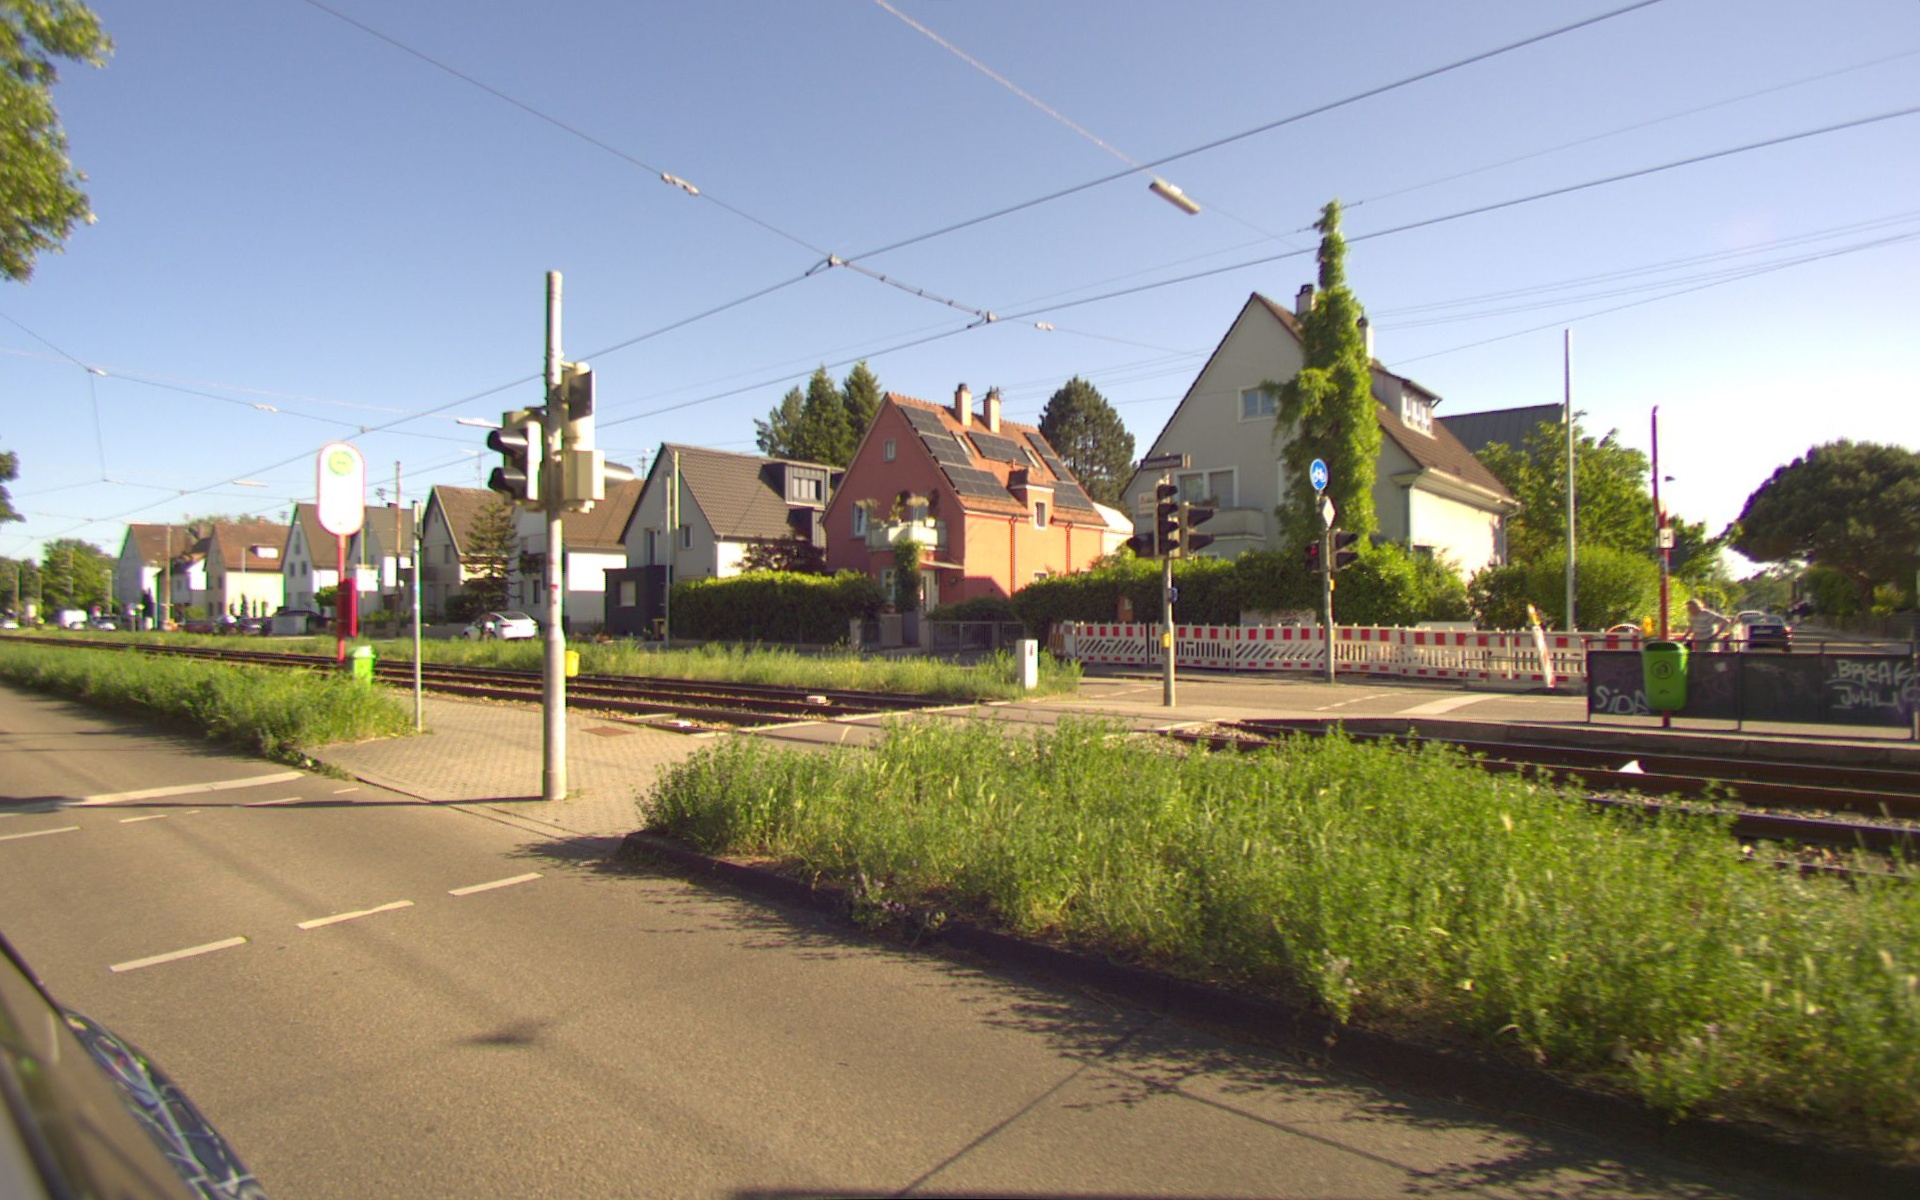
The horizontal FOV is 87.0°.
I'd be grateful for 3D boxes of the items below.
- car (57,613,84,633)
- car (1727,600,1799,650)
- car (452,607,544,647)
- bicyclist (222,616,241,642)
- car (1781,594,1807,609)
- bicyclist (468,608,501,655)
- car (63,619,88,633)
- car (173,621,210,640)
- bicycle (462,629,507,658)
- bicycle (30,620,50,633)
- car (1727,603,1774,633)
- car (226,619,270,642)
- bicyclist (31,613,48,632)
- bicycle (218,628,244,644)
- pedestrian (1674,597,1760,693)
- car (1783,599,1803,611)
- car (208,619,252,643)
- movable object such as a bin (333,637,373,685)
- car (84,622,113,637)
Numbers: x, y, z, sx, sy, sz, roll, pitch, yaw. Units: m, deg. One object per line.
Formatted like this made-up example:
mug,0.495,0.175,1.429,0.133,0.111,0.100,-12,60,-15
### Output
car,-105.474,2.675,119.992,4.001,2.239,2.104,-1,1,44
car,28.998,0.863,36.638,1.846,1.597,3.951,-1,1,36
car,-21.060,1.198,46.038,4.837,1.691,1.973,-1,1,41
bicyclist,-48.106,1.922,66.805,0.837,1.687,0.842,-1,0,42
car,93.015,0.149,112.947,1.996,1.597,3.951,-1,1,36
bicyclist,-19.760,1.312,42.033,1.071,1.901,0.843,-1,0,41
car,-102.092,3.003,116.790,4.001,1.517,1.767,-1,1,44
car,-63.017,2.472,82.969,3.822,1.391,1.733,-1,1,41
bicycle,-19.788,1.792,42.070,2.308,1.143,0.843,-1,1,41
bicycle,-109.877,3.133,120.829,3.998,1.506,1.336,-1,1,41
car,45.741,1.036,58.607,1.996,1.597,3.951,-1,1,36
car,-50.531,2.123,71.846,3.754,1.501,1.716,-1,1,41
bicyclist,-109.921,2.695,120.875,1.622,2.250,1.293,-1,0,41
bicycle,-48.122,2.376,66.789,2.307,0.958,0.843,-1,1,40
pedestrian,12.571,0.743,16.834,0.786,1.546,0.810,-2,-2,12
car,117.928,0.733,143.314,1.996,1.597,3.951,-1,1,36
car,-53.844,2.266,74.605,4.010,1.609,1.779,-1,1,41
movable object such as a bin,-7.833,0.784,13.063,0.381,0.587,0.380,-1,0,-40
car,-91.538,3.108,107.548,3.998,1.517,1.768,-1,1,42
